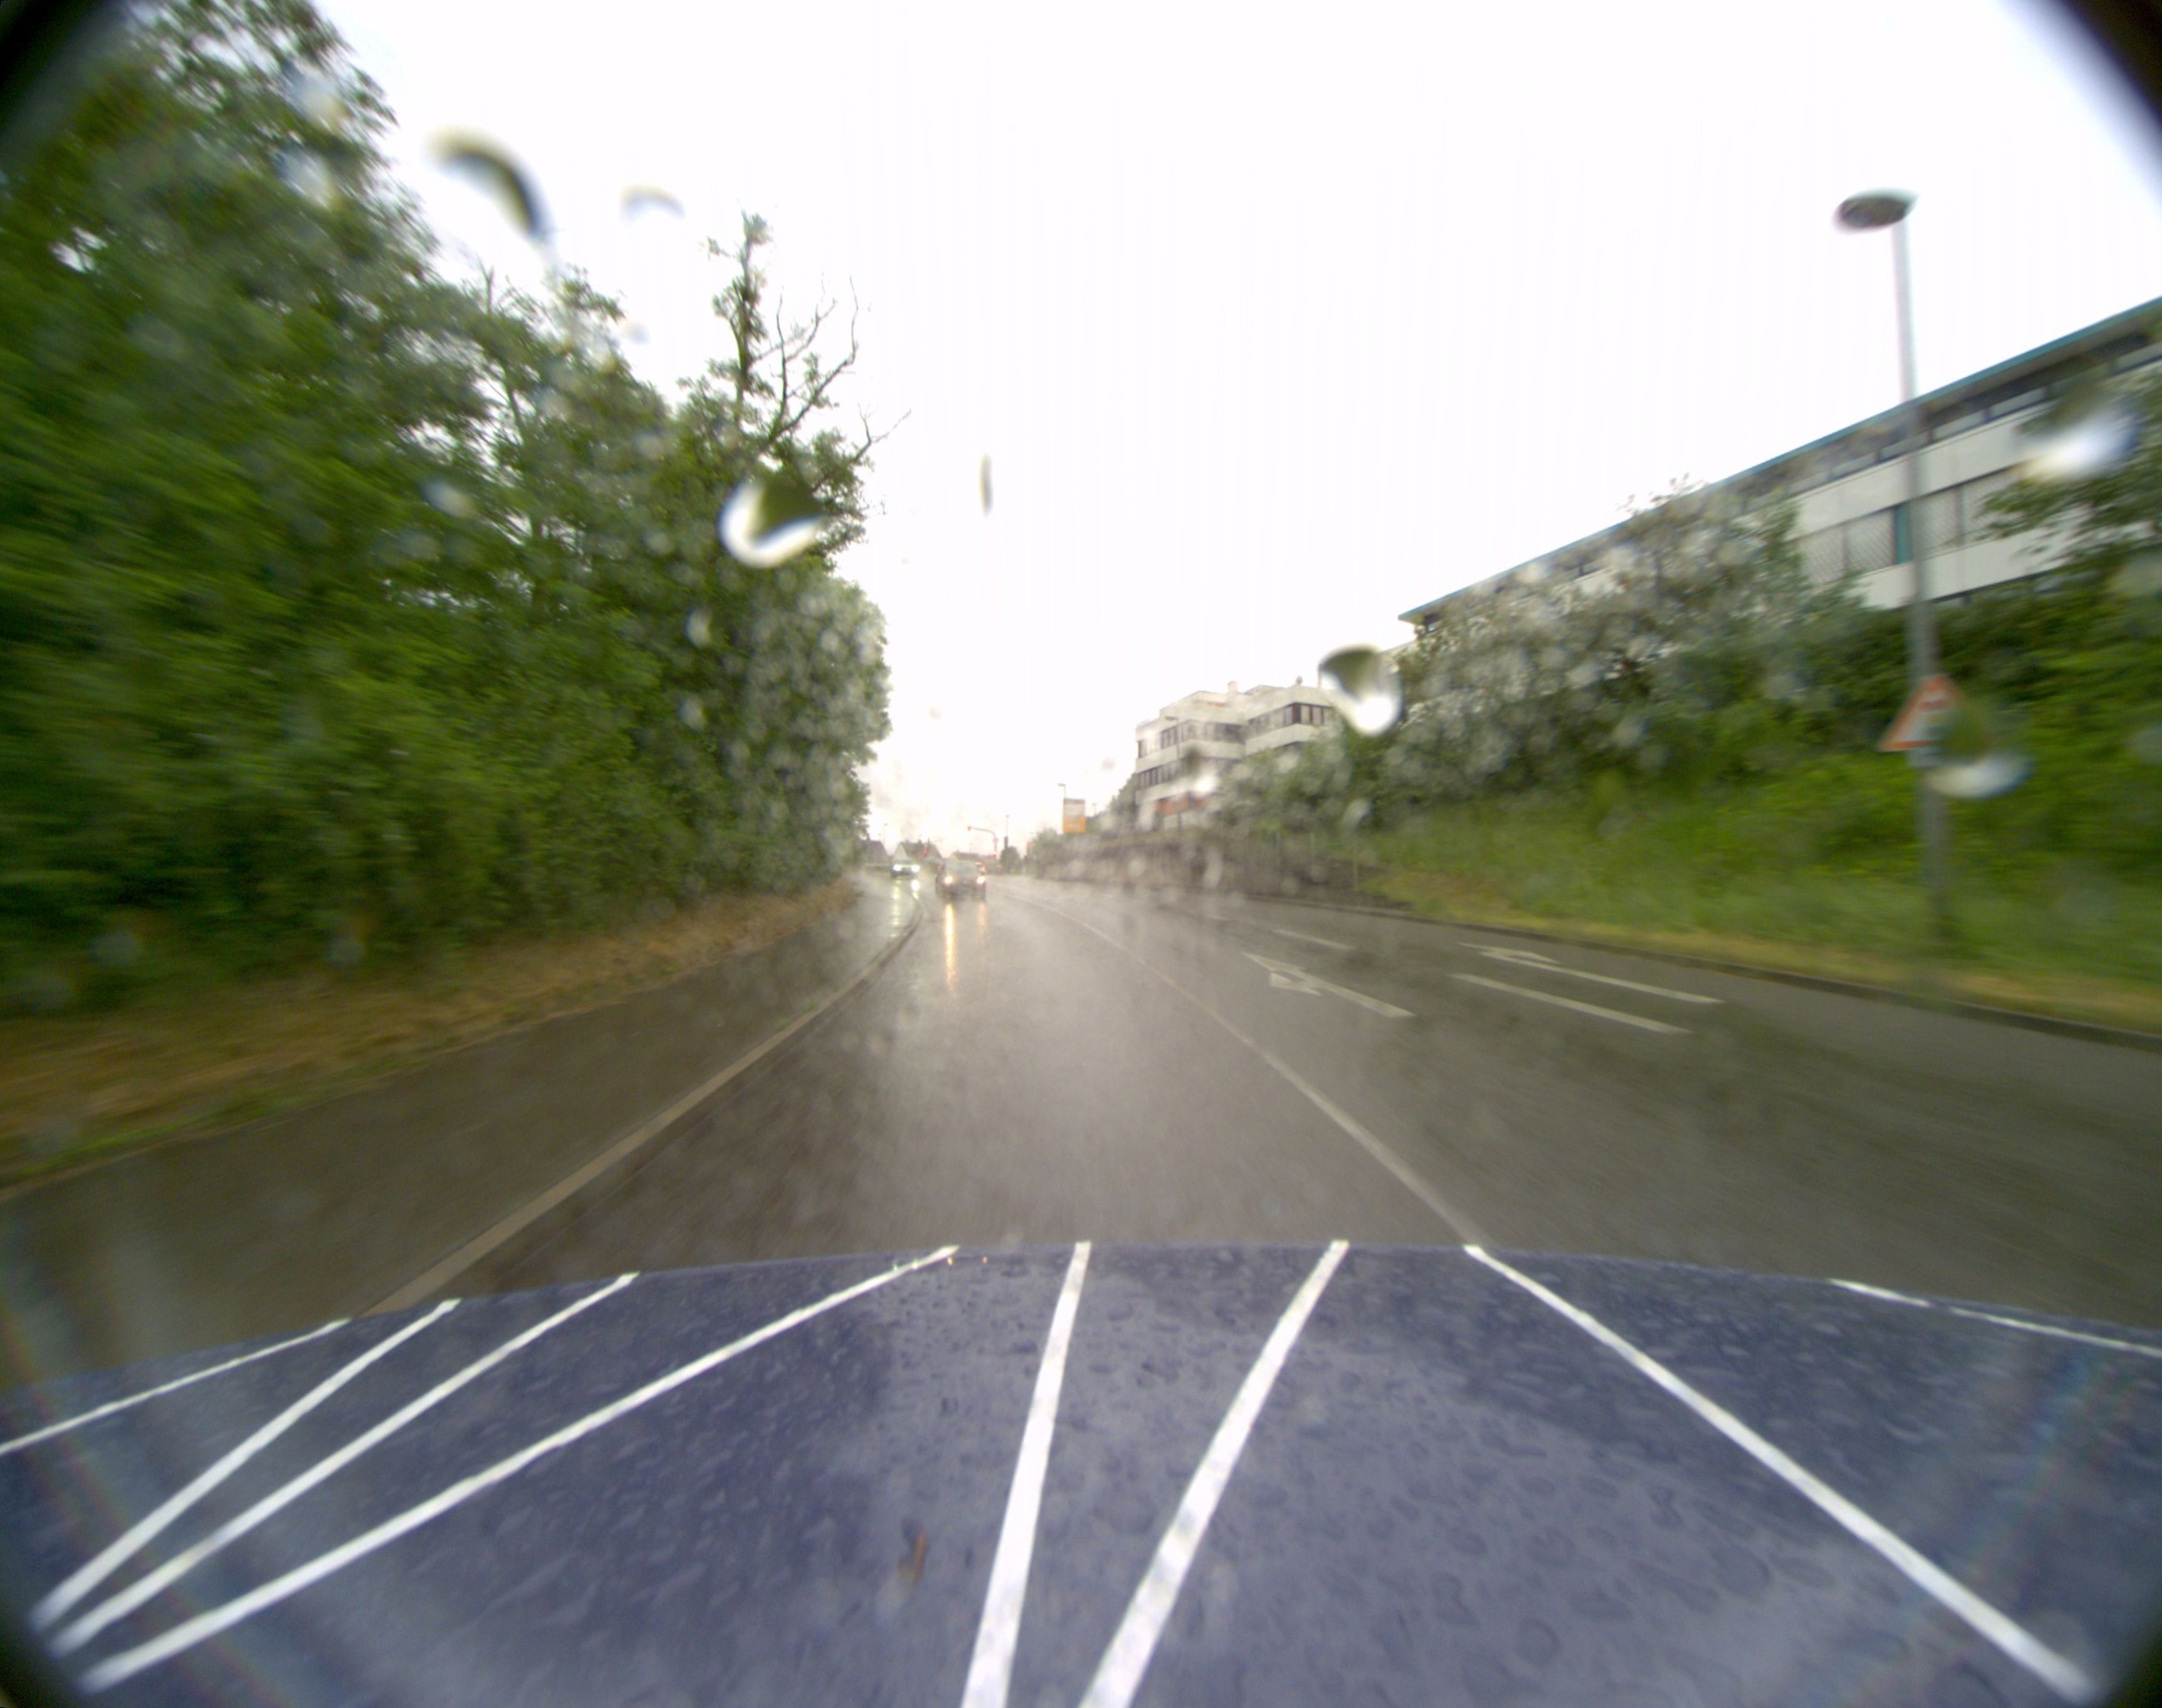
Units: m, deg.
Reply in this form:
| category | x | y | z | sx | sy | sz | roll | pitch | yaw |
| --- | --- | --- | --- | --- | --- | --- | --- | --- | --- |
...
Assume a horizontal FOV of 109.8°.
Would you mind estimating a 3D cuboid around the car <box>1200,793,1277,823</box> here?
| category | x | y | z | sx | sy | sz | roll | pitch | yaw |
| --- | --- | --- | --- | --- | --- | --- | --- | --- | --- |
| car | 8.185 | -2.359 | 39.902 | 1.921 | 1.335 | 4.525 | 0 | 1 | -18 |

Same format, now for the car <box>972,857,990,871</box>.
| category | x | y | z | sx | sy | sz | roll | pitch | yaw |
| --- | --- | --- | --- | --- | --- | --- | --- | --- | --- |
| car | -11.292 | 1.108 | 85.484 | 1.739 | 1.452 | 3.717 | 0 | 1 | -11 |

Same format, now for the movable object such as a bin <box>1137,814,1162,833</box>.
| category | x | y | z | sx | sy | sz | roll | pitch | yaw |
| --- | --- | --- | --- | --- | --- | --- | --- | --- | --- |
| movable object such as a bin | 4.567 | -2.033 | 50.571 | 1.246 | 1.204 | 1.341 | 0 | 0 | -15 |

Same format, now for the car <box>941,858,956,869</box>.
| category | x | y | z | sx | sy | sz | roll | pitch | yaw |
| --- | --- | --- | --- | --- | --- | --- | --- | --- | --- |
| car | -16.166 | 1.159 | 92.902 | 1.739 | 1.297 | 3.717 | 0 | 1 | -11 |

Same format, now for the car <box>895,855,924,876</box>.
| category | x | y | z | sx | sy | sz | roll | pitch | yaw |
| --- | --- | --- | --- | --- | --- | --- | --- | --- | --- |
| car | -12.876 | 0.864 | 56.891 | 1.877 | 1.432 | 4.371 | 2 | -1 | -16 |

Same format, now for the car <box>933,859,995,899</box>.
| category | x | y | z | sx | sy | sz | roll | pitch | yaw |
| --- | --- | --- | --- | --- | --- | --- | --- | --- | --- |
| car | -4.811 | 0.954 | 30.707 | 1.876 | 1.433 | 4.371 | 0 | 0 | -17 |

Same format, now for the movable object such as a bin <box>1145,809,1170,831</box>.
| category | x | y | z | sx | sy | sz | roll | pitch | yaw |
| --- | --- | --- | --- | --- | --- | --- | --- | --- | --- |
| movable object such as a bin | 4.958 | -2.177 | 49.251 | 1.245 | 1.338 | 1.216 | 0 | 0 | -14 |
